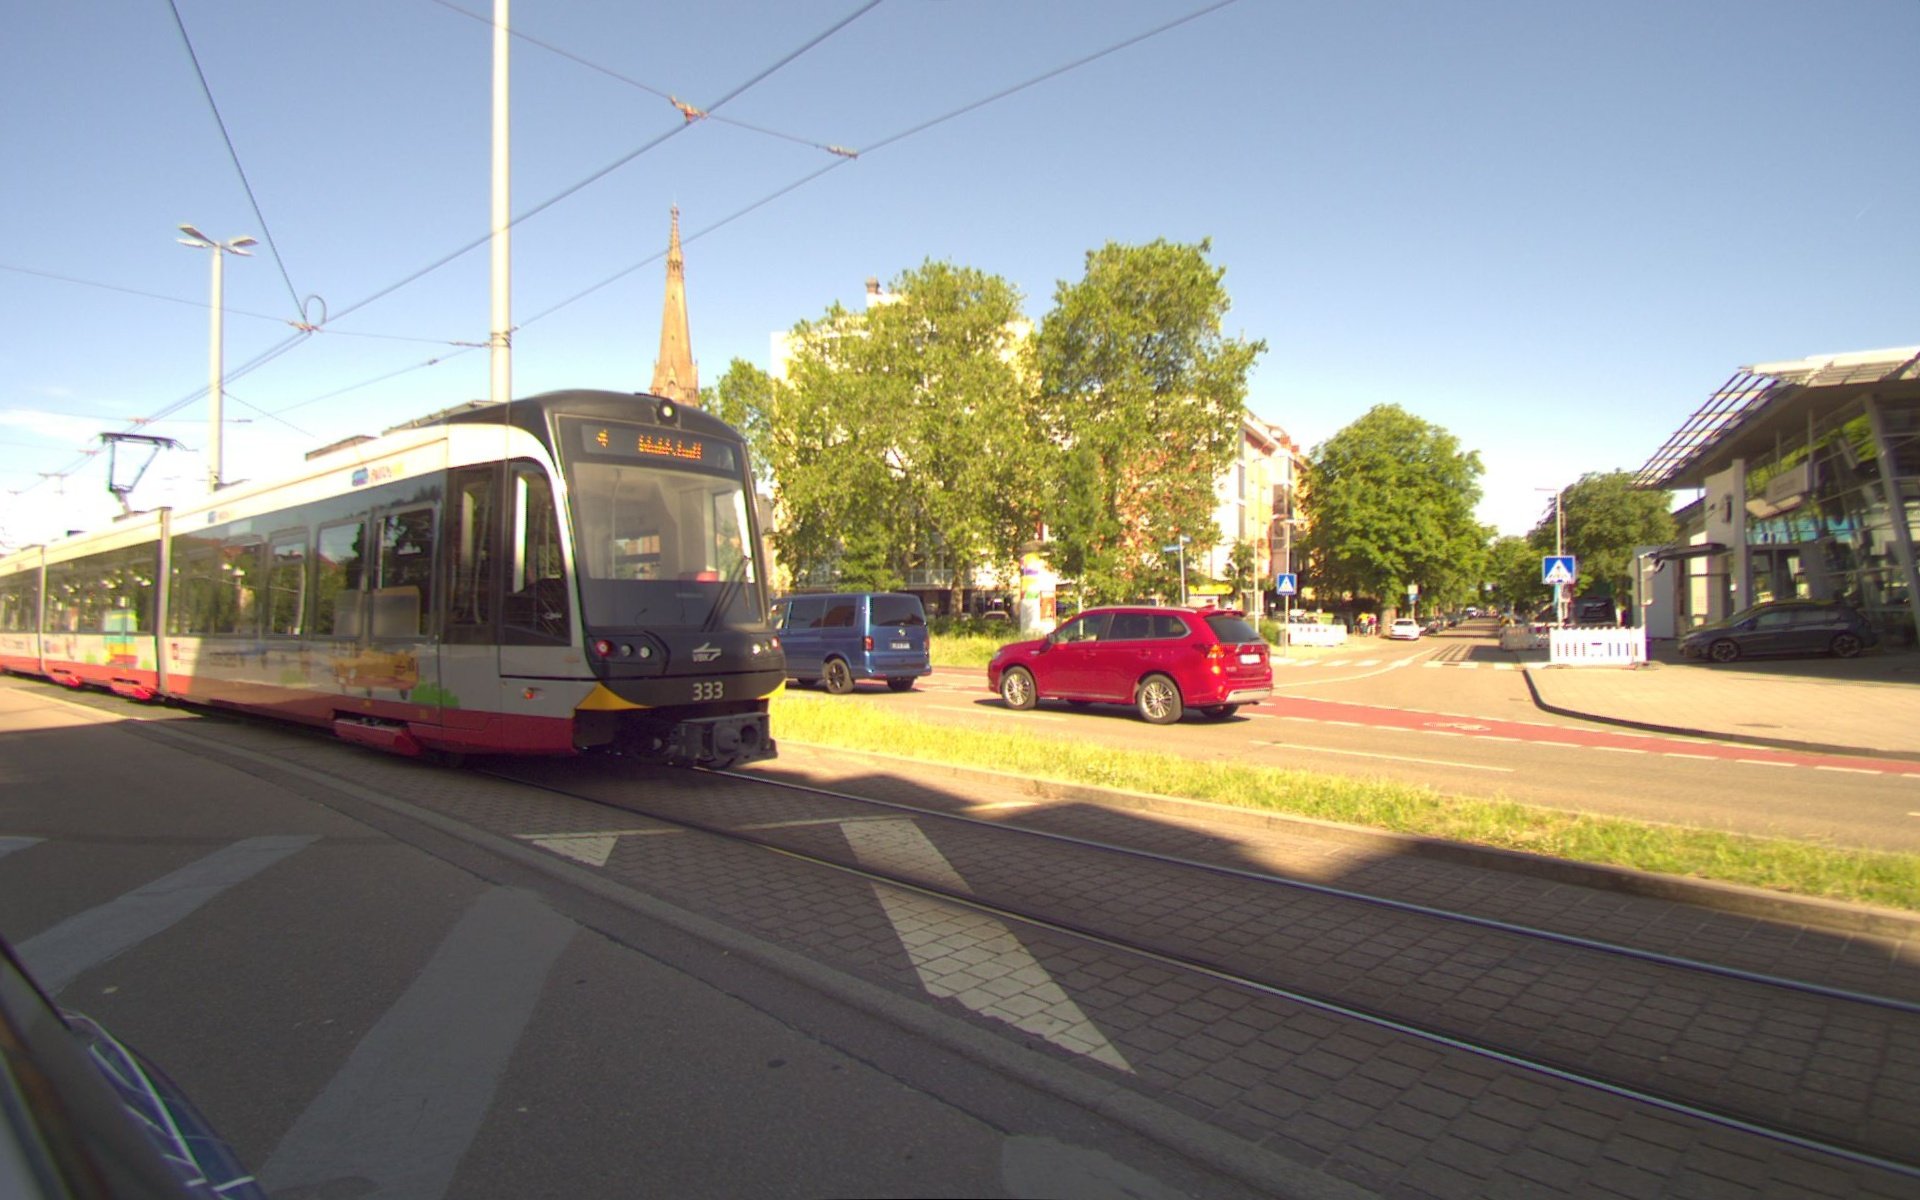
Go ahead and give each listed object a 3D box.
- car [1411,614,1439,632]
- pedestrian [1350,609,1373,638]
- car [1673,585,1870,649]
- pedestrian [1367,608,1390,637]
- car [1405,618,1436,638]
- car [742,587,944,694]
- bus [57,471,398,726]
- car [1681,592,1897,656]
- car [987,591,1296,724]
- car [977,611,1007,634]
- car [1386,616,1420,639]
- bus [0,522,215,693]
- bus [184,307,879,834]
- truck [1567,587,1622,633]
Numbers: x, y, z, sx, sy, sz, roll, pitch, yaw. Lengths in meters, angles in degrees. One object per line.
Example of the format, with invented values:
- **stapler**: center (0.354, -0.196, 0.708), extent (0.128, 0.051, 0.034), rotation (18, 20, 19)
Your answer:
- **car**: center (39.743, 1.953, 86.480), extent (1.990, 1.345, 3.963), rotation (-1, 1, 28)
- **pedestrian**: center (28.429, 1.655, 71.651), extent (1.161, 2.029, 1.109), rotation (-1, 1, -1)
- **car**: center (23.658, 0.521, 29.721), extent (4.187, 1.576, 1.740), rotation (-5, -3, 31)
- **pedestrian**: center (29.728, 1.603, 71.897), extent (1.161, 2.029, 1.109), rotation (-1, 1, -1)
- **car**: center (36.085, 2.160, 79.284), extent (1.990, 1.345, 3.963), rotation (-1, 1, 28)
- **car**: center (-2.442, 0.769, 20.511), extent (4.164, 1.948, 1.783), rotation (-1, -1, 43)
- **bus**: center (-14.144, 0.067, 18.969), extent (10.719, 3.617, 2.811), rotation (-1, -1, 41)
- **car**: center (22.156, 0.655, 27.295), extent (4.187, 1.411, 1.740), rotation (-5, -3, 31)
- **car**: center (2.611, 0.772, 15.385), extent (1.778, 1.732, 4.419), rotation (1, -1, -44)
- **car**: center (2.222, 1.539, 70.430), extent (1.973, 1.510, 3.997), rotation (-1, -1, 2)
- **car**: center (30.178, 1.858, 69.030), extent (1.986, 1.345, 3.971), rotation (-1, 1, 22)
- **bus**: center (-23.436, 0.278, 26.825), extent (13.483, 3.617, 2.812), rotation (-1, -1, 40)
- **bus**: center (-5.891, -0.116, 11.740), extent (11.266, 3.617, 2.811), rotation (-1, -1, 41)
- **truck**: center (33.190, 0.513, 53.044), extent (1.989, 2.237, 4.179), rotation (-1, 1, 26)
